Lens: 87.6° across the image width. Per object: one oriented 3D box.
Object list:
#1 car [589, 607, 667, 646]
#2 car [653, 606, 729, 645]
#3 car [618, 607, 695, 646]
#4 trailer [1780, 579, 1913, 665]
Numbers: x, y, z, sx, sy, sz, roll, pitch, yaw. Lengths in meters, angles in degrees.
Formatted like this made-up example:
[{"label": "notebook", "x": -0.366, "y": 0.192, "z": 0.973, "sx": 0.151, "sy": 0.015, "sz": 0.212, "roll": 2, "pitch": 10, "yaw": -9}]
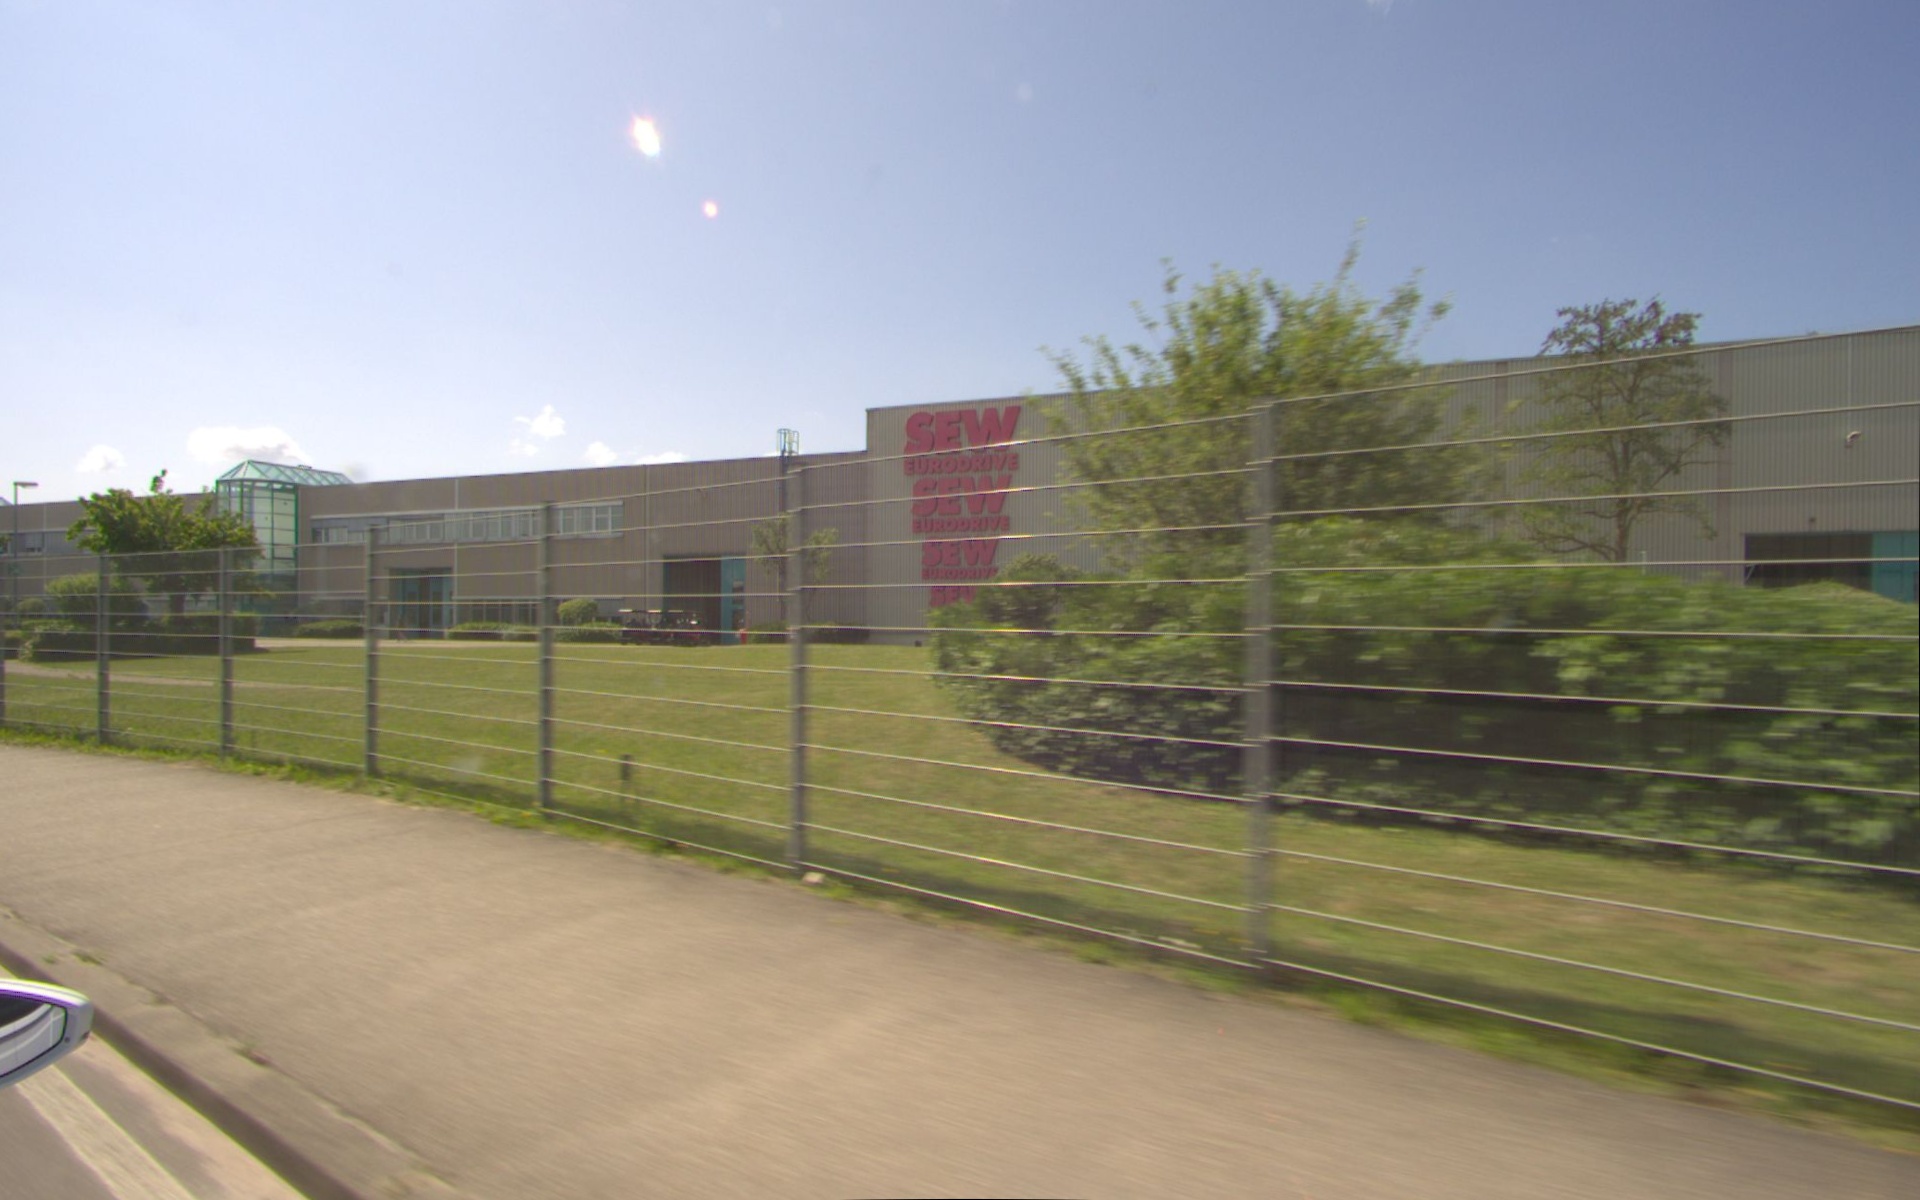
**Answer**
[{"label": "car", "x": -18.437, "y": 1.472, "z": 55.771, "sx": 1.937, "sy": 2.040, "sz": 4.164, "roll": 0, "pitch": -1, "yaw": 21}, {"label": "car", "x": -14.496, "y": 1.365, "z": 54.225, "sx": 1.937, "sy": 2.040, "sz": 4.164, "roll": 0, "pitch": -1, "yaw": 21}, {"label": "car", "x": -16.598, "y": 1.423, "z": 54.946, "sx": 1.937, "sy": 2.040, "sz": 4.164, "roll": 0, "pitch": -1, "yaw": 21}, {"label": "trailer", "x": 31.165, "y": 0.769, "z": 35.428, "sx": 1.968, "sy": 2.756, "sz": 5.968, "roll": 0, "pitch": -1, "yaw": 26}]
